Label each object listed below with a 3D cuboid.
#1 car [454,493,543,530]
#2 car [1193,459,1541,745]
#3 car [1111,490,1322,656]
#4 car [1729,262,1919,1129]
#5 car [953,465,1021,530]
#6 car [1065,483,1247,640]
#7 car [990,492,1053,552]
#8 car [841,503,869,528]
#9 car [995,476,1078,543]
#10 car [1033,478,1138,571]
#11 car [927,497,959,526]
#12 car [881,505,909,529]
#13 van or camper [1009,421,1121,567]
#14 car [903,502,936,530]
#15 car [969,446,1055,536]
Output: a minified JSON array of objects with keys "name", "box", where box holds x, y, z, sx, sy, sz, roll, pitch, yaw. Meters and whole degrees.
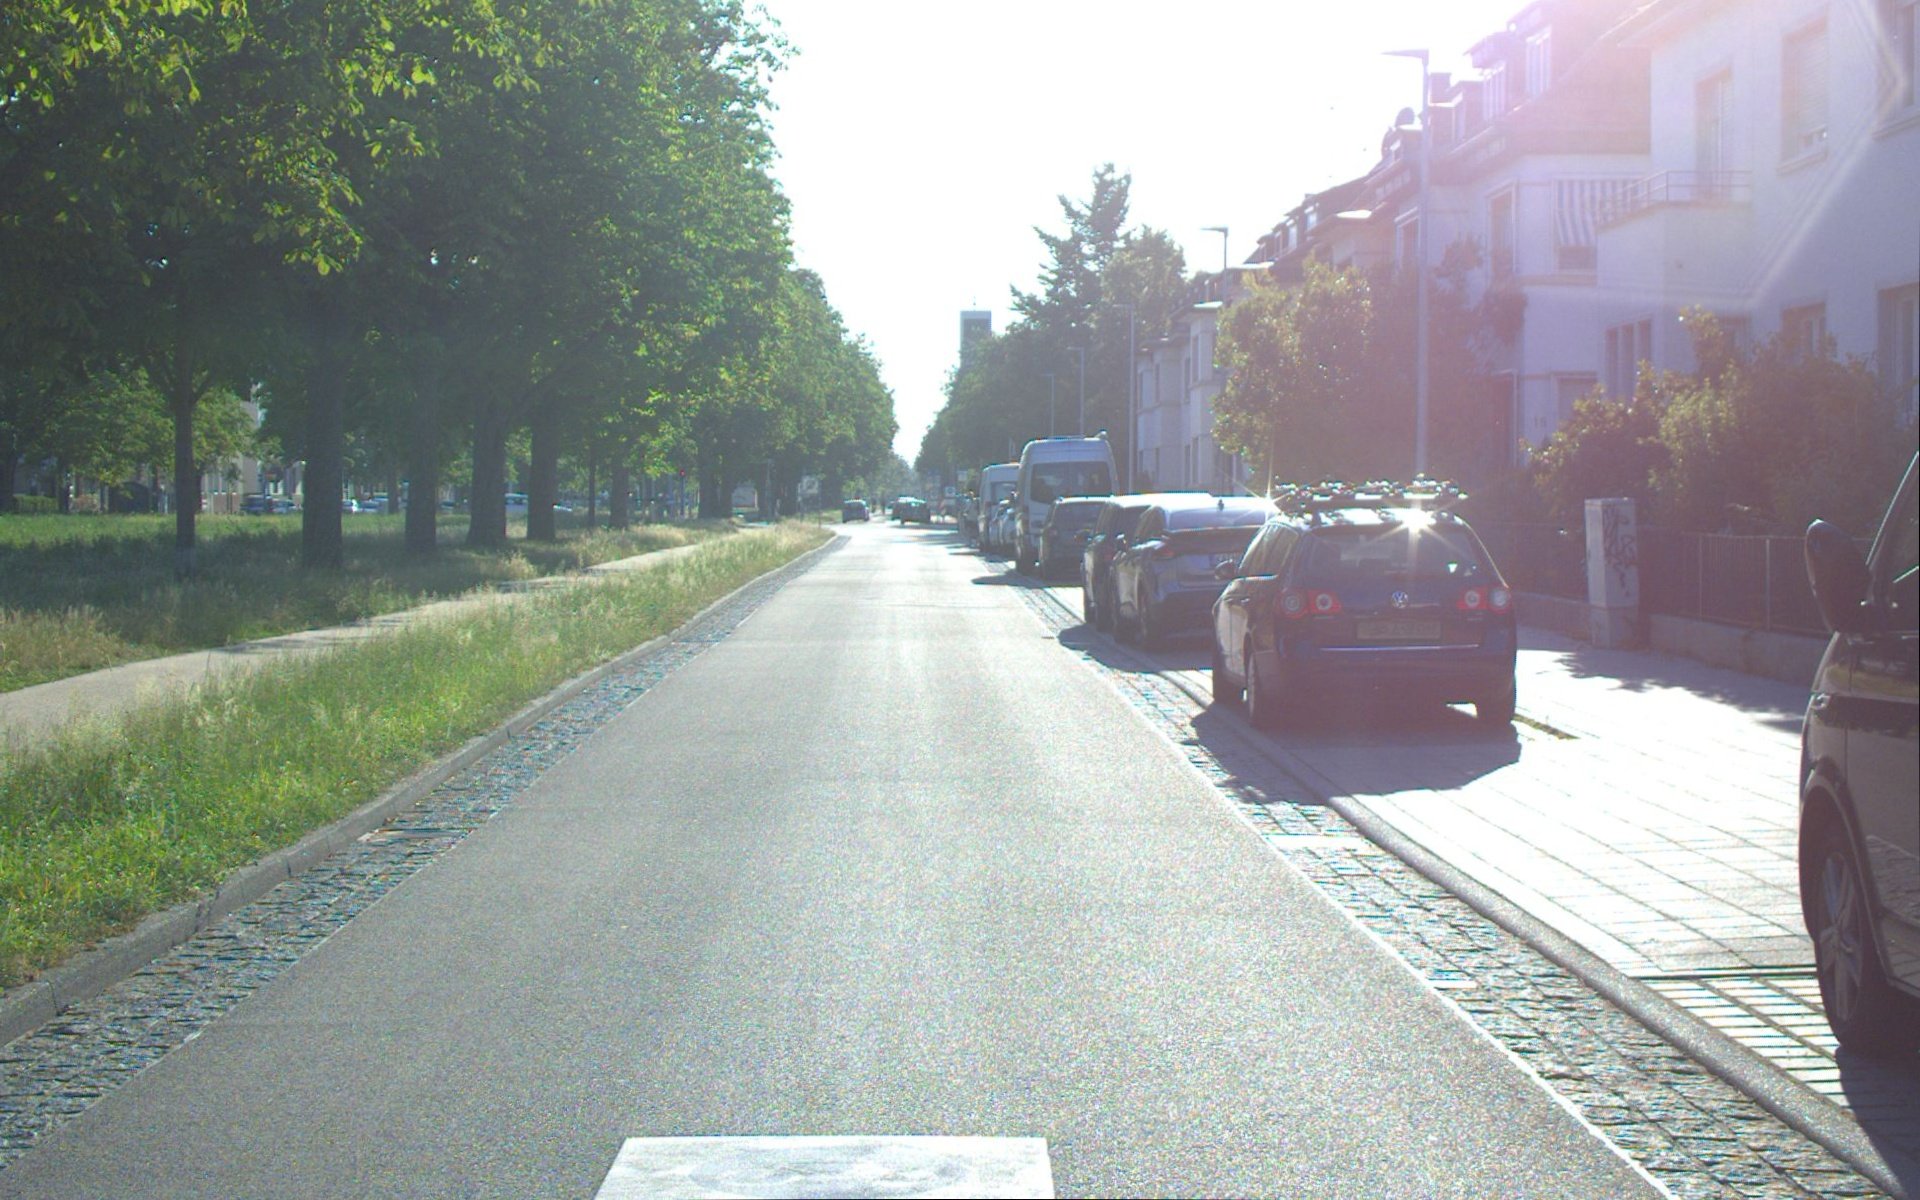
[{"name":"car","box":[-23.161,-4.457,172.302,4.345,1.758,2.001,1,1,-9]},{"name":"car","box":[2.743,-0.075,24.123,1.794,1.765,4.473,-2,2,-1]},{"name":"car","box":[2.611,-0.329,35.865,1.718,1.568,4.211,-2,2,-2]},{"name":"car","box":[3.285,0.233,7.926,1.906,2.124,4.815,-2,2,0]},{"name":"car","box":[0.861,-3.426,114.403,2.126,2.060,5.189,-1,2,-1]},{"name":"car","box":[2.306,-0.517,41.413,1.832,1.679,4.416,2,3,-1]},{"name":"car","box":[1.642,-2.135,93.138,1.650,1.525,3.851,-1,2,0]},{"name":"car","box":[-6.982,-5.645,229.061,1.863,1.591,3.870,1,1,-2]},{"name":"car","box":[1.921,-2.324,87.788,1.837,1.630,4.132,-1,2,-2]},{"name":"car","box":[2.249,-1.399,62.594,1.663,1.587,4.086,-2,2,0]},{"name":"car","box":[-0.926,-4.832,187.052,1.650,1.525,3.851,-1,2,0]},{"name":"car","box":[-4.508,-5.735,236.293,1.863,1.591,3.870,1,1,-2]},{"name":"van or camper","box":[2.066,-2.103,69.254,1.943,2.768,5.940,1,1,-1]},{"name":"car","box":[-2.426,-5.007,205.394,1.863,1.591,3.894,1,2,-2]},{"name":"car","box":[1.471,-3.168,99.444,2.126,2.524,5.189,-1,2,-3]}]
